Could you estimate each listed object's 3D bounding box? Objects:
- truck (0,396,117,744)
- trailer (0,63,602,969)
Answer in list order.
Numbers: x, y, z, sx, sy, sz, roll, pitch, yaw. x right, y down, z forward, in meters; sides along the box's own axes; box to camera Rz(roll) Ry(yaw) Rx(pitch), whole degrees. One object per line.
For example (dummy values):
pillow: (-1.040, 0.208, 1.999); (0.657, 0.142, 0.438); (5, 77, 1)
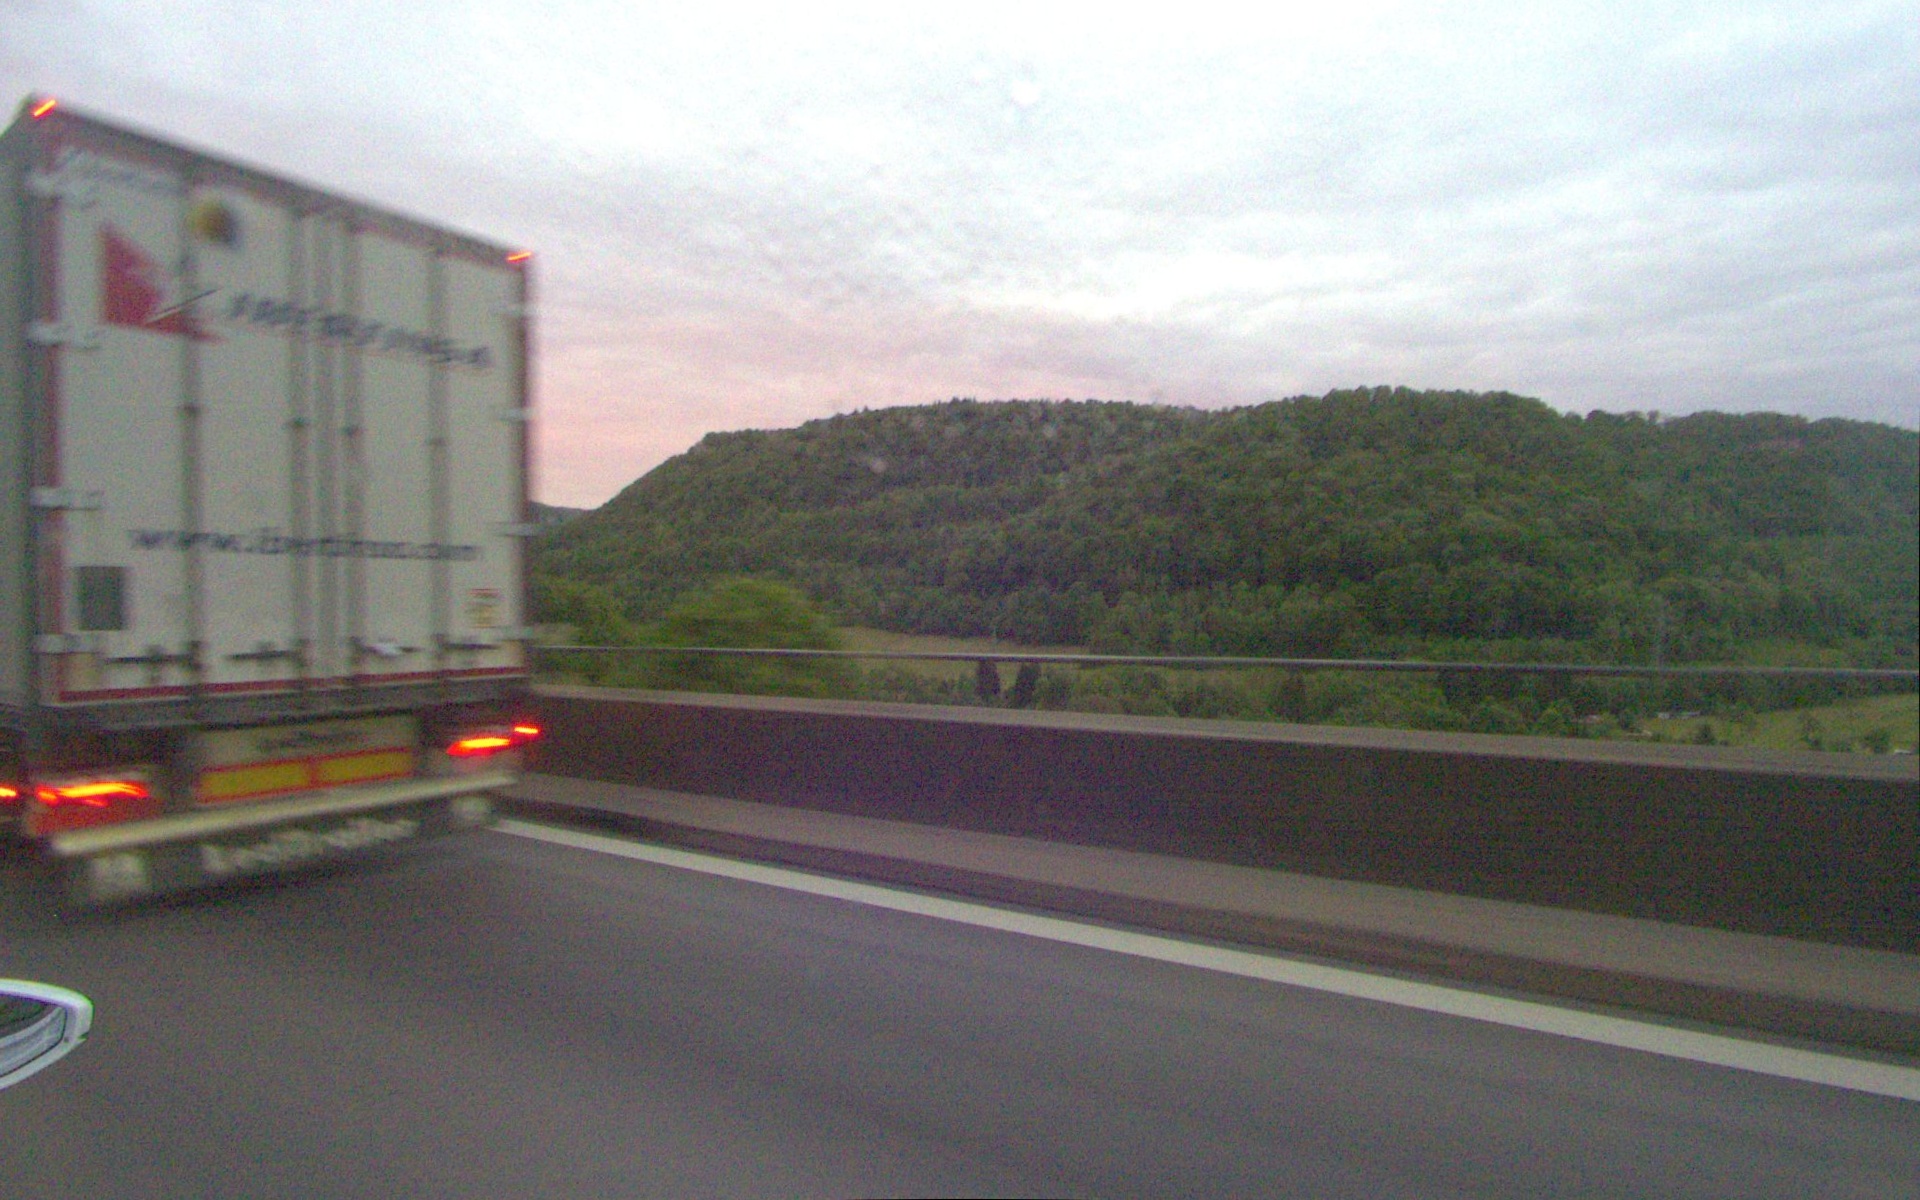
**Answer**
truck: (-14.411, -0.298, 13.592); (6.361, 4.198, 3.061); (-1, -1, 35)
trailer: (-9.105, -0.344, 9.775); (14.026, 4.023, 3.088); (0, 1, 35)
